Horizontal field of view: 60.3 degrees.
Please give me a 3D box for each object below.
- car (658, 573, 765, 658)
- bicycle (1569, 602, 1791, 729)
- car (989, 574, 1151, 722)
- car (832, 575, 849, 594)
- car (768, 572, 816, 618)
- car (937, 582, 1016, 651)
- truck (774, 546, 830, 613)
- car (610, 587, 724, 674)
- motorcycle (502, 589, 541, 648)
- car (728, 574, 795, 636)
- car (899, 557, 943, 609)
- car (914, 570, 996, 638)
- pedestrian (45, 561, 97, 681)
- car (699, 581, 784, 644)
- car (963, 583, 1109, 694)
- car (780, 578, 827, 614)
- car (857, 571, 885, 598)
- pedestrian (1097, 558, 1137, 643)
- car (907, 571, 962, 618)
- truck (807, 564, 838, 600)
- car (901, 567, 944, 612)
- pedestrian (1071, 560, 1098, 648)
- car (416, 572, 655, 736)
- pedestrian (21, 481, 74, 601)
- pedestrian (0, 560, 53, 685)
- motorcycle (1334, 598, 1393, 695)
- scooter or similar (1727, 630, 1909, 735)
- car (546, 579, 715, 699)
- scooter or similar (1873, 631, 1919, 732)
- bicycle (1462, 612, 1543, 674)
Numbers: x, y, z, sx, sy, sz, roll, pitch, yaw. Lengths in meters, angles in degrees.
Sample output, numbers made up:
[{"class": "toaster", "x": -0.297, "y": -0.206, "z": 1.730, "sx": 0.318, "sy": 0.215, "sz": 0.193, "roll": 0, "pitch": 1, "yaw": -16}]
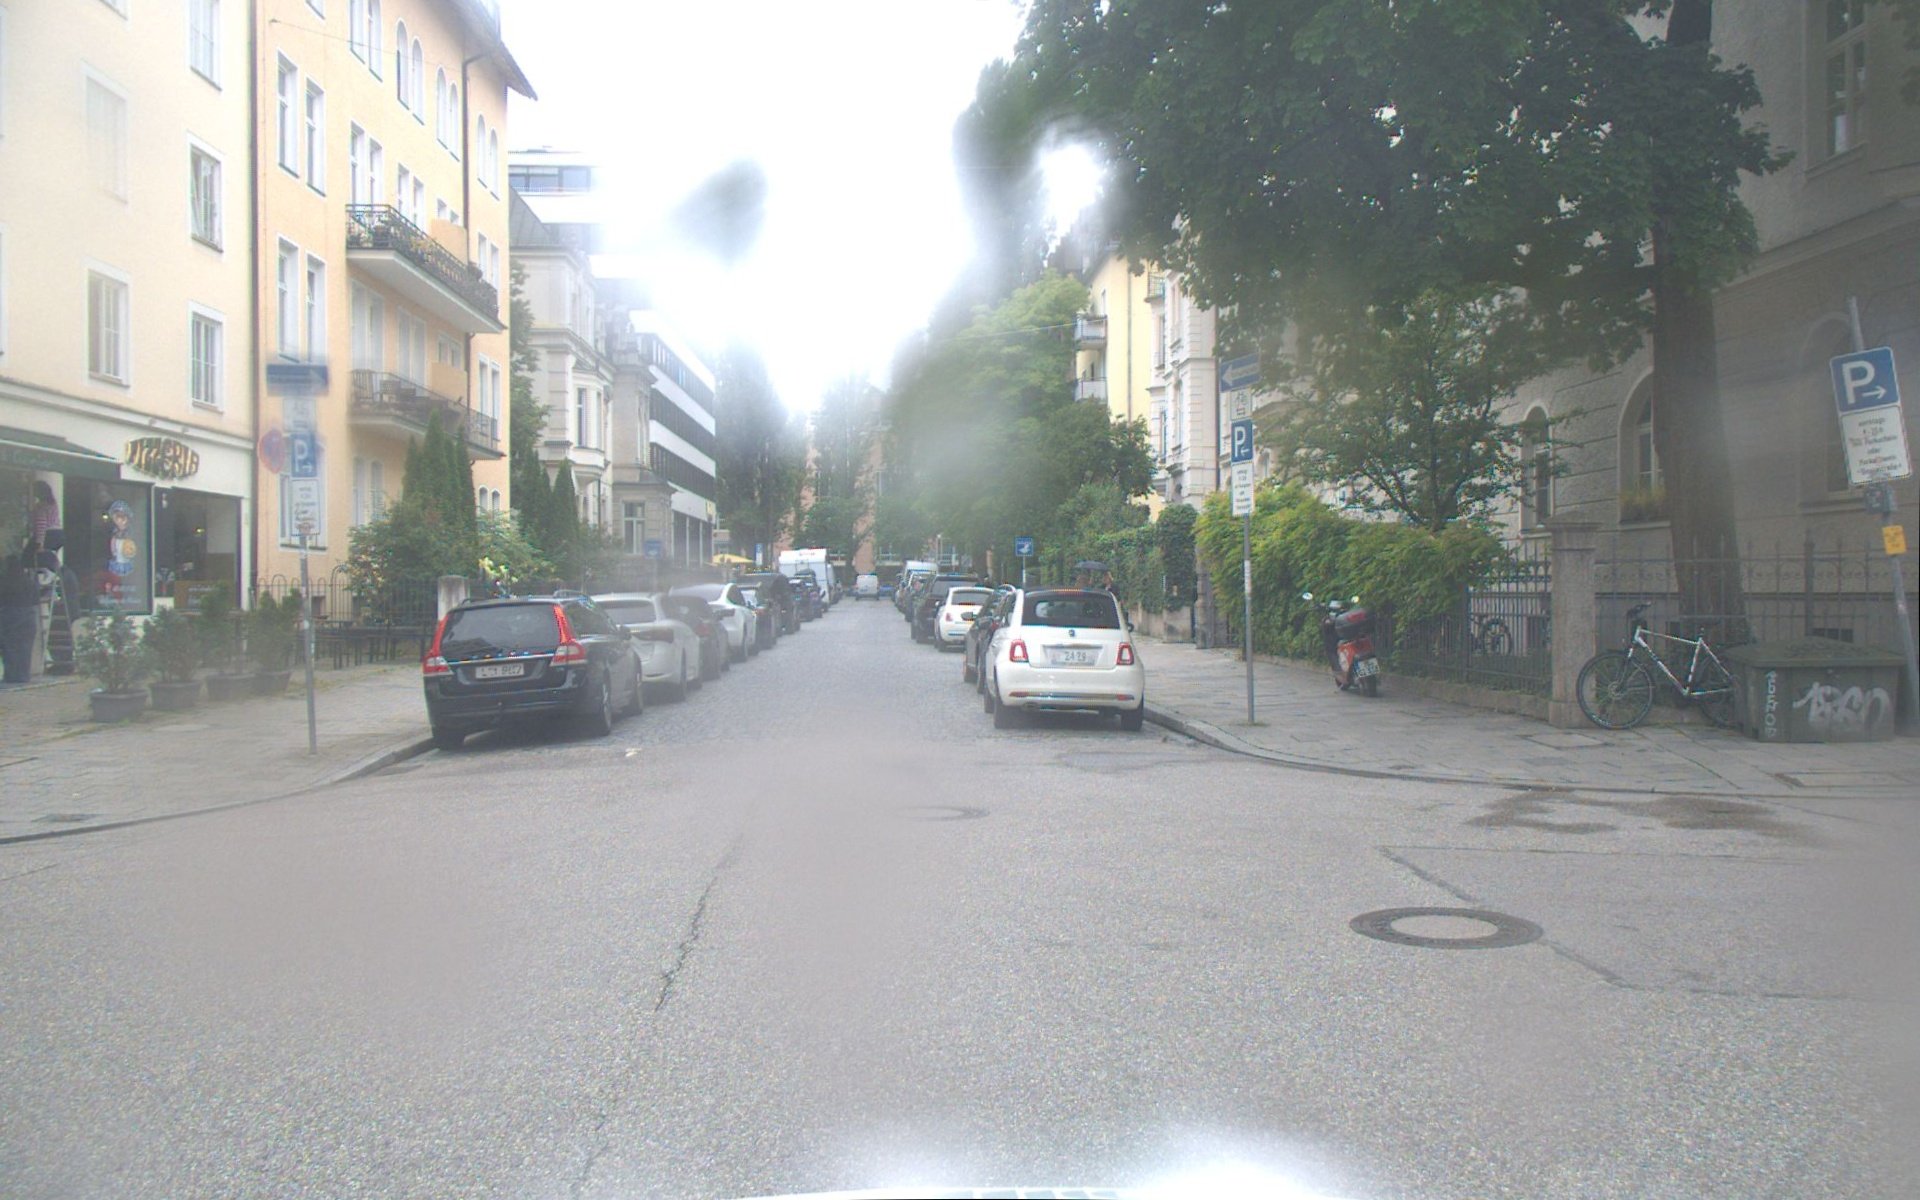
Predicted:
[{"class": "car", "x": -5.174, "y": 0.302, "z": 34.859, "sx": 1.738, "sy": 1.676, "sz": 4.389, "roll": 0, "pitch": 0, "yaw": -2}, {"class": "bicycle", "x": 6.648, "y": 0.596, "z": 15.338, "sx": 1.798, "sy": 1.144, "sz": 0.563, "roll": 0, "pitch": 0, "yaw": 7}, {"class": "car", "x": 1.166, "y": 0.484, "z": 18.881, "sx": 1.471, "sy": 1.497, "sz": 3.794, "roll": -1, "pitch": 0, "yaw": -2}, {"class": "car", "x": -9.884, "y": -1.297, "z": 136.580, "sx": 1.251, "sy": 1.568, "sz": 3.118, "roll": 0, "pitch": 0, "yaw": -2}, {"class": "car", "x": -6.603, "y": -0.185, "z": 65.419, "sx": 1.738, "sy": 1.747, "sz": 4.387, "roll": 0, "pitch": 0, "yaw": -4}, {"class": "car", "x": 0.340, "y": 0.358, "z": 38.924, "sx": 1.598, "sy": 1.495, "sz": 3.657, "roll": 2, "pitch": 0, "yaw": -3}, {"class": "truck", "x": -7.770, "y": -1.017, "z": 81.980, "sx": 2.459, "sy": 3.084, "sz": 6.380, "roll": -2, "pitch": 1, "yaw": -4}, {"class": "car", "x": -5.014, "y": 0.482, "z": 28.758, "sx": 1.740, "sy": 1.383, "sz": 4.383, "roll": 0, "pitch": 0, "yaw": -8}, {"class": "motorcycle", "x": -9.231, "y": 0.378, "z": 34.865, "sx": 0.481, "sy": 1.215, "sz": 1.578, "roll": 0, "pitch": 1, "yaw": -4}, {"class": "car", "x": -5.637, "y": 0.135, "z": 47.257, "sx": 1.548, "sy": 1.617, "sz": 4.054, "roll": -2, "pitch": 0, "yaw": -3}, {"class": "car", "x": -1.990, "y": -0.889, "z": 83.601, "sx": 1.858, "sy": 2.468, "sz": 5.607, "roll": 3, "pitch": 1, "yaw": -4}, {"class": "car", "x": -0.202, "y": 0.087, "z": 44.374, "sx": 1.838, "sy": 1.702, "sz": 5.486, "roll": 0, "pitch": 0, "yaw": -4}, {"class": "pedestrian", "x": -12.865, "y": 0.301, "z": 23.942, "sx": 0.452, "sy": 1.720, "sz": 0.574, "roll": 0, "pitch": 0, "yaw": -3}, {"class": "car", "x": -5.353, "y": 0.283, "z": 40.964, "sx": 1.738, "sy": 1.454, "sz": 4.388, "roll": 0, "pitch": 0, "yaw": -3}, {"class": "car", "x": 1.048, "y": 0.522, "z": 24.937, "sx": 1.616, "sy": 1.446, "sz": 4.628, "roll": 3, "pitch": 0, "yaw": -4}, {"class": "car", "x": -6.639, "y": -0.161, "z": 70.643, "sx": 1.901, "sy": 1.484, "sz": 4.055, "roll": 0, "pitch": 0, "yaw": -4}, {"class": "car", "x": -6.616, "y": -1.135, "z": 123.295, "sx": 1.956, "sy": 1.970, "sz": 3.999, "roll": 0, "pitch": 0, "yaw": -2}, {"class": "pedestrian", "x": 3.440, "y": 0.015, "z": 36.275, "sx": 0.620, "sy": 1.840, "sz": 0.655, "roll": 0, "pitch": 0, "yaw": -26}, {"class": "car", "x": -1.057, "y": -0.219, "z": 65.180, "sx": 1.924, "sy": 1.789, "sz": 4.950, "roll": 0, "pitch": 0, "yaw": -4}, {"class": "truck", "x": -9.204, "y": -1.211, "z": 110.695, "sx": 1.954, "sy": 2.387, "sz": 4.065, "roll": 0, "pitch": 0, "yaw": -3}, {"class": "car", "x": -1.788, "y": -0.508, "z": 78.079, "sx": 1.764, "sy": 1.983, "sz": 4.857, "roll": 2, "pitch": 0, "yaw": -4}, {"class": "pedestrian", "x": 2.704, "y": 0.089, "z": 35.856, "sx": 0.563, "sy": 1.882, "sz": 0.682, "roll": 0, "pitch": 0, "yaw": 4}, {"class": "car", "x": -4.619, "y": 0.518, "z": 18.695, "sx": 1.816, "sy": 1.614, "sz": 4.744, "roll": 0, "pitch": 0, "yaw": -5}, {"class": "pedestrian", "x": -12.816, "y": -0.824, "z": 23.235, "sx": 0.467, "sy": 1.671, "sz": 0.497, "roll": 0, "pitch": 0, "yaw": 1}, {"class": "pedestrian", "x": -12.741, "y": 0.303, "z": 22.468, "sx": 0.511, "sy": 1.671, "sz": 0.629, "roll": 0, "pitch": 0, "yaw": -4}, {"class": "motorcycle", "x": 4.785, "y": 0.528, "z": 19.670, "sx": 0.355, "sy": 1.109, "sz": 1.403, "roll": 0, "pitch": 0, "yaw": 0}, {"class": "scooter or similar", "x": 7.470, "y": 0.703, "z": 14.455, "sx": 1.158, "sy": 0.863, "sz": 0.925, "roll": 0, "pitch": 0, "yaw": 6}, {"class": "car", "x": -4.613, "y": 0.496, "z": 23.733, "sx": 1.738, "sy": 1.563, "sz": 4.538, "roll": 0, "pitch": 0, "yaw": -3}, {"class": "scooter or similar", "x": 8.731, "y": 0.703, "z": 14.389, "sx": 1.211, "sy": 0.840, "sz": 0.697, "roll": 0, "pitch": 0, "yaw": 6}, {"class": "bicycle", "x": 7.837, "y": 0.599, "z": 23.983, "sx": 0.481, "sy": 0.826, "sz": 2.274, "roll": 0, "pitch": 0, "yaw": 1}]
